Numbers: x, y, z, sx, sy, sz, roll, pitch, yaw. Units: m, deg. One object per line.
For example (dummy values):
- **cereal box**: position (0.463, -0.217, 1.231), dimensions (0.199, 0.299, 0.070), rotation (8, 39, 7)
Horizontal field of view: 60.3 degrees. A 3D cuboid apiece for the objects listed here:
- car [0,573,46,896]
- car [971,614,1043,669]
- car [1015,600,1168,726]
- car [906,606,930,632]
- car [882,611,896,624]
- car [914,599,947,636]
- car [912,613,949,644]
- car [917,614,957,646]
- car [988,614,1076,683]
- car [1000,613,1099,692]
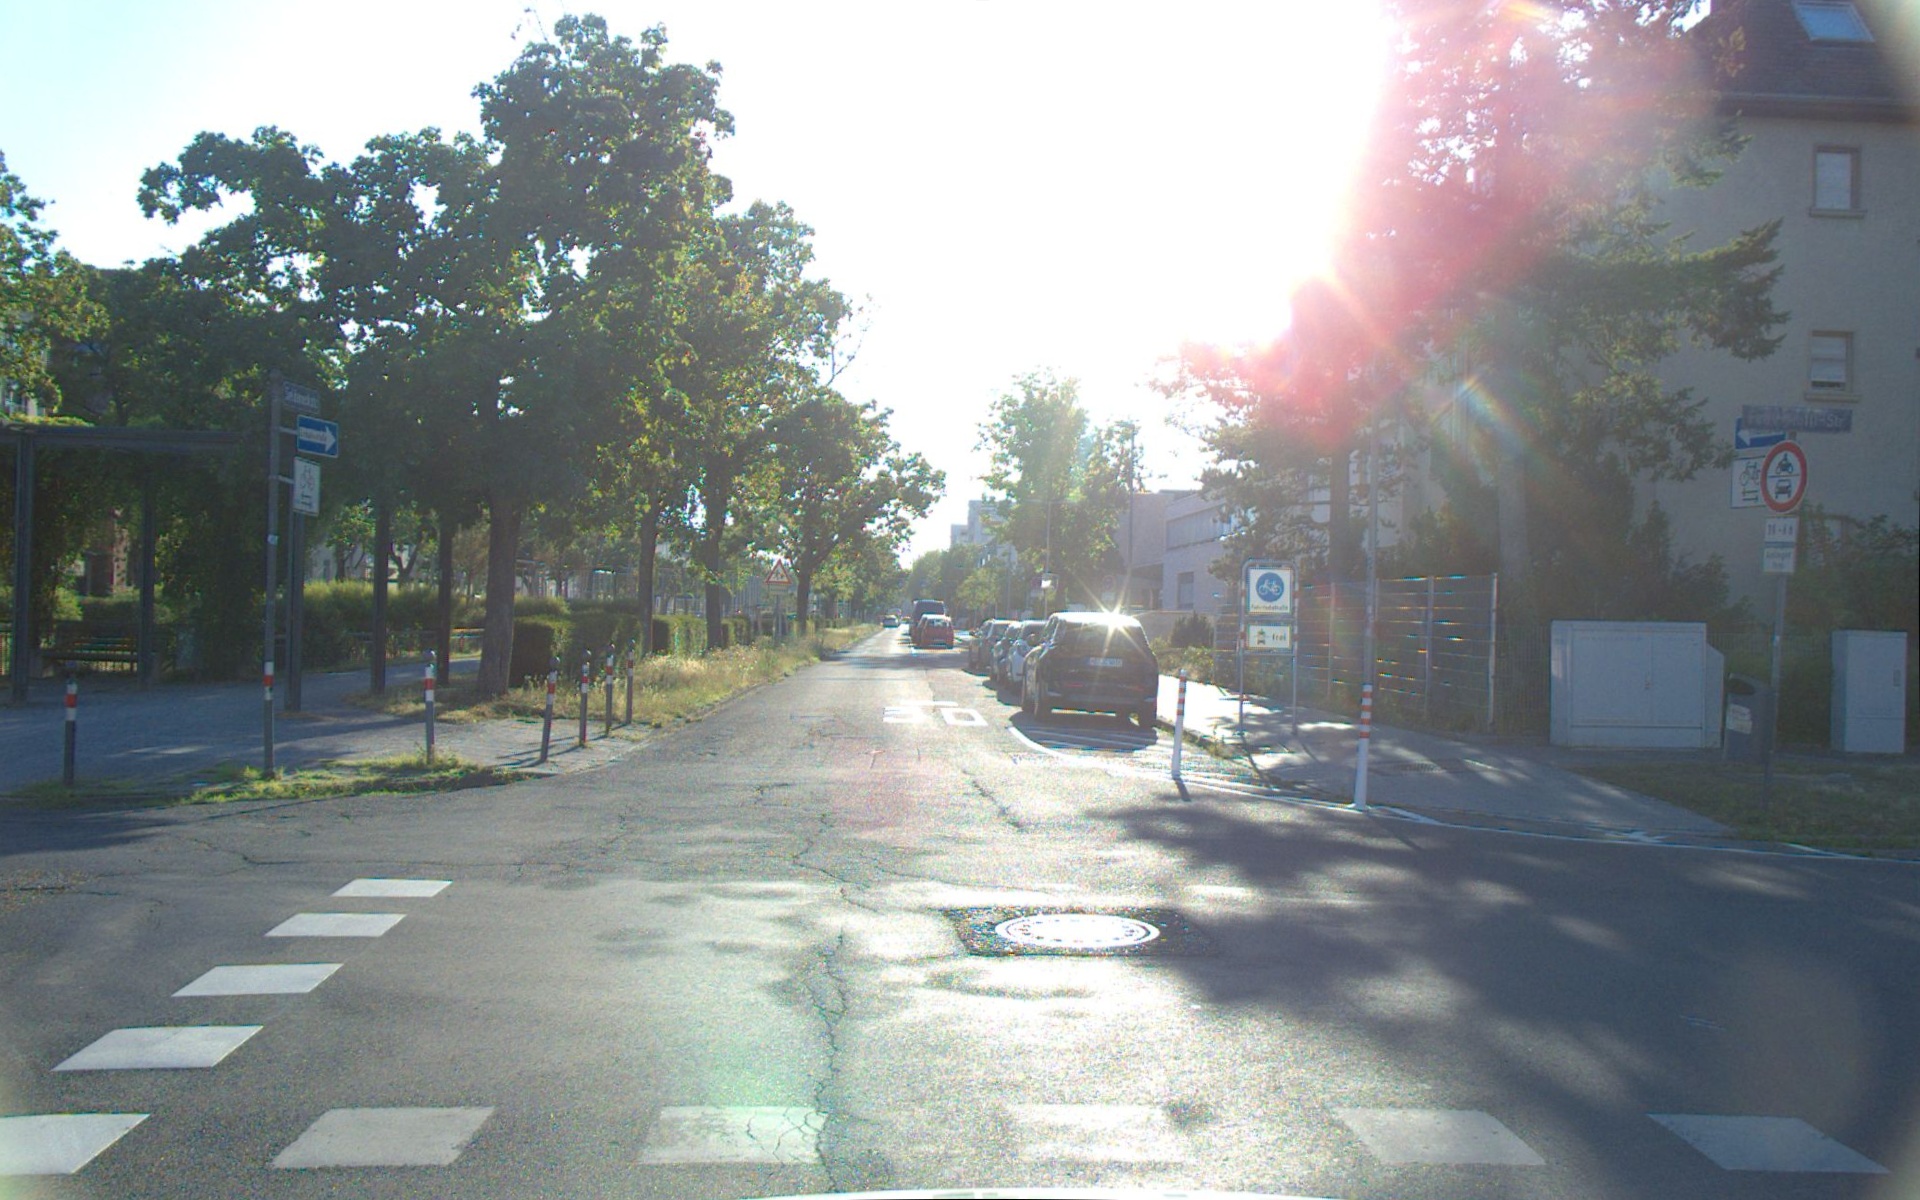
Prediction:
- **car**: position (-6.440, 0.628, 7.396), dimensions (3.684, 1.553, 1.770), rotation (0, -1, -1)
- **car**: position (1.343, 1.199, 48.601), dimensions (1.730, 1.553, 3.769), rotation (0, -1, -4)
- **car**: position (1.942, 0.920, 25.640), dimensions (1.781, 1.670, 4.214), rotation (4, -1, -2)
- **car**: position (-3.533, 1.593, 140.176), dimensions (1.953, 2.161, 3.998), rotation (1, -1, -2)
- **car**: position (-9.906, 2.434, 230.588), dimensions (1.828, 1.646, 3.997), rotation (1, -1, -3)
- **car**: position (-1.832, 1.064, 100.938), dimensions (1.953, 2.161, 3.998), rotation (1, -1, -2)
- **car**: position (-1.604, 1.502, 87.841), dimensions (1.696, 1.545, 3.756), rotation (1, -1, -5)
- **car**: position (-1.169, 1.500, 83.334), dimensions (1.722, 1.545, 3.756), rotation (1, -1, -5)
- **car**: position (1.668, 1.116, 39.405), dimensions (1.695, 1.545, 3.757), rotation (1, -1, -4)
- **car**: position (1.811, 1.050, 34.437), dimensions (1.729, 1.553, 3.771), rotation (0, -1, -2)
